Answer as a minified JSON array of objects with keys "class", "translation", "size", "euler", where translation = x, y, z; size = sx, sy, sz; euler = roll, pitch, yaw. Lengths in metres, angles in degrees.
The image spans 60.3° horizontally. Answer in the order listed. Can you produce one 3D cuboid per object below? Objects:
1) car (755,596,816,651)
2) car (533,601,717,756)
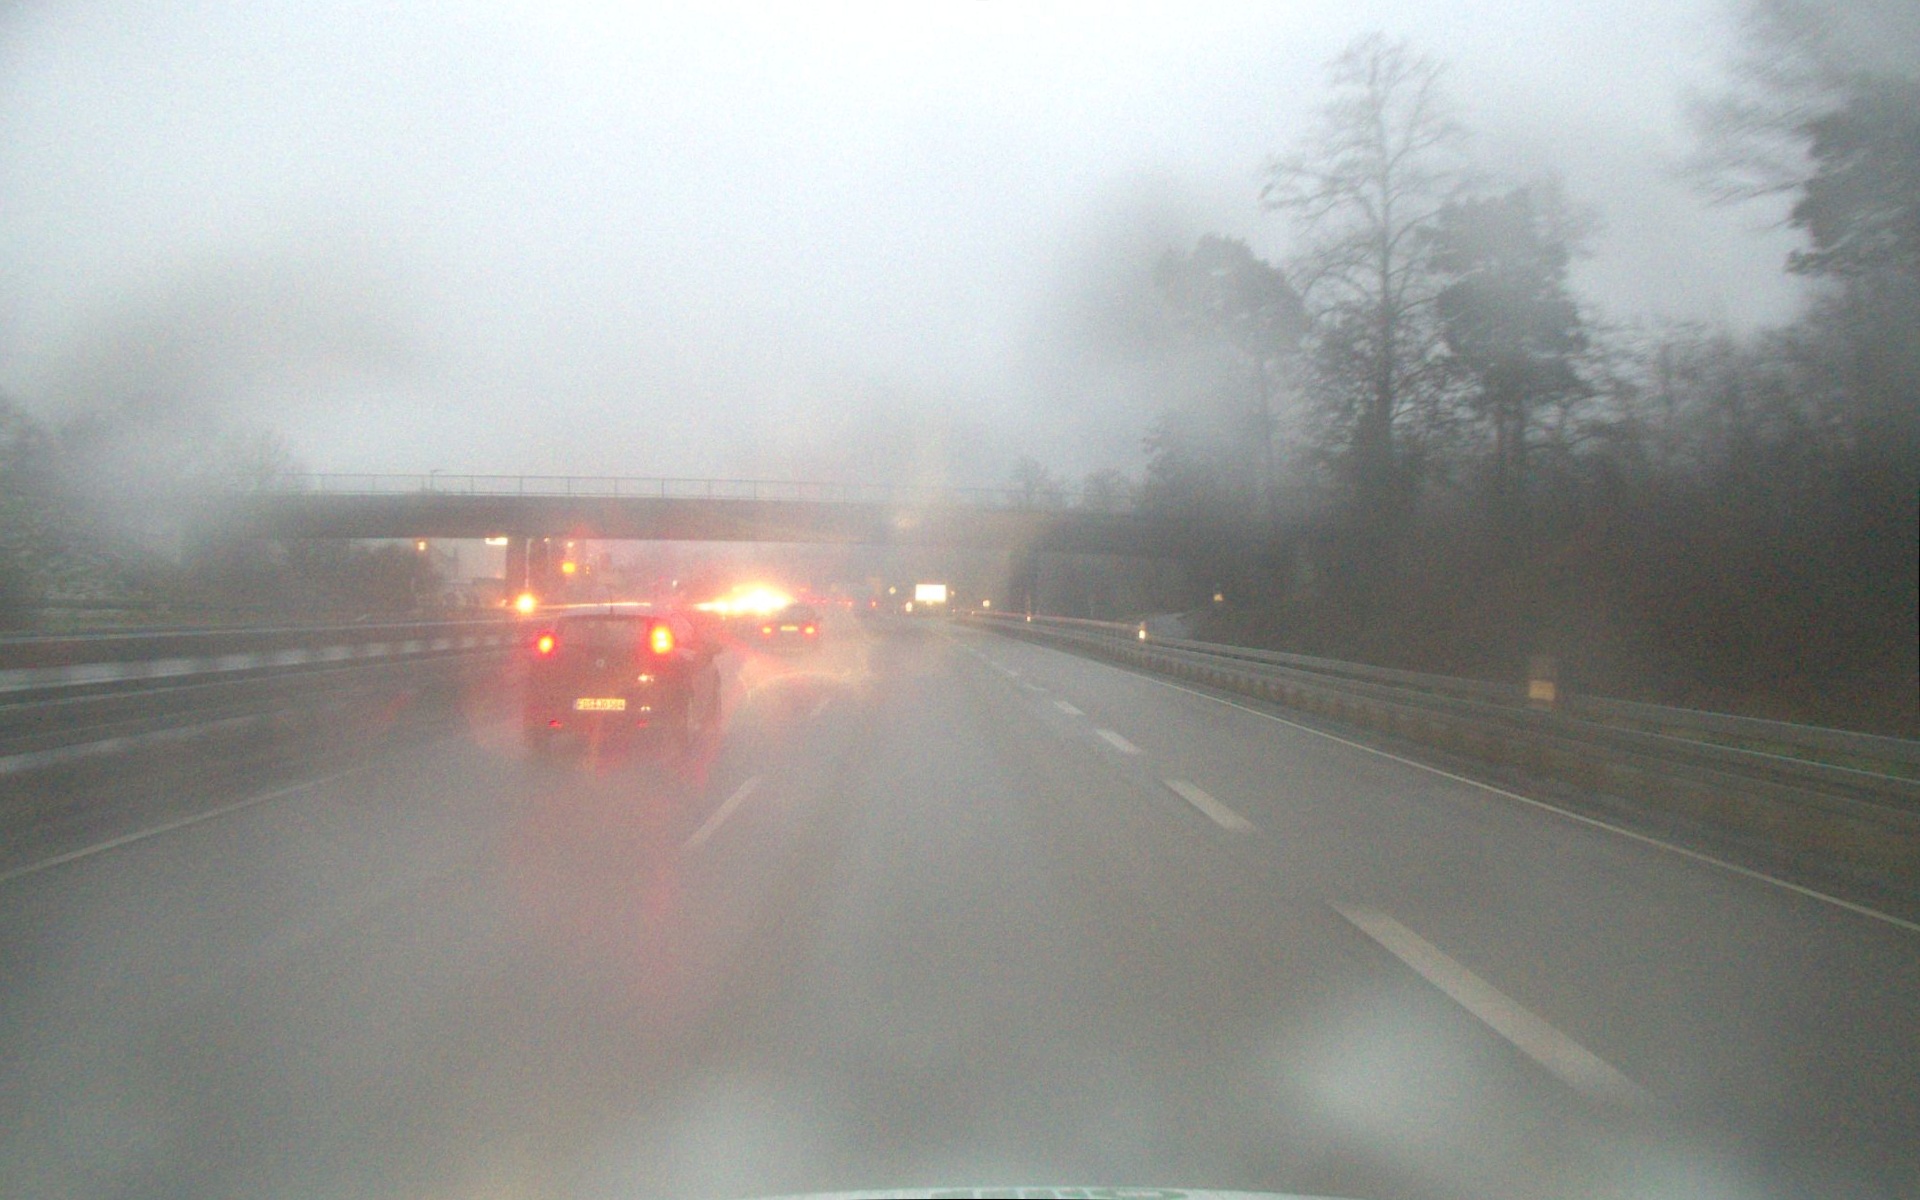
[{"class":"car","translation":[-5.229,0.683,49.945],"size":[1.741,1.561,4.698],"euler":[0,0,-5]},{"class":"car","translation":[-3.612,0.796,18.323],"size":[1.497,1.440,3.476],"euler":[3,0,-4]}]
